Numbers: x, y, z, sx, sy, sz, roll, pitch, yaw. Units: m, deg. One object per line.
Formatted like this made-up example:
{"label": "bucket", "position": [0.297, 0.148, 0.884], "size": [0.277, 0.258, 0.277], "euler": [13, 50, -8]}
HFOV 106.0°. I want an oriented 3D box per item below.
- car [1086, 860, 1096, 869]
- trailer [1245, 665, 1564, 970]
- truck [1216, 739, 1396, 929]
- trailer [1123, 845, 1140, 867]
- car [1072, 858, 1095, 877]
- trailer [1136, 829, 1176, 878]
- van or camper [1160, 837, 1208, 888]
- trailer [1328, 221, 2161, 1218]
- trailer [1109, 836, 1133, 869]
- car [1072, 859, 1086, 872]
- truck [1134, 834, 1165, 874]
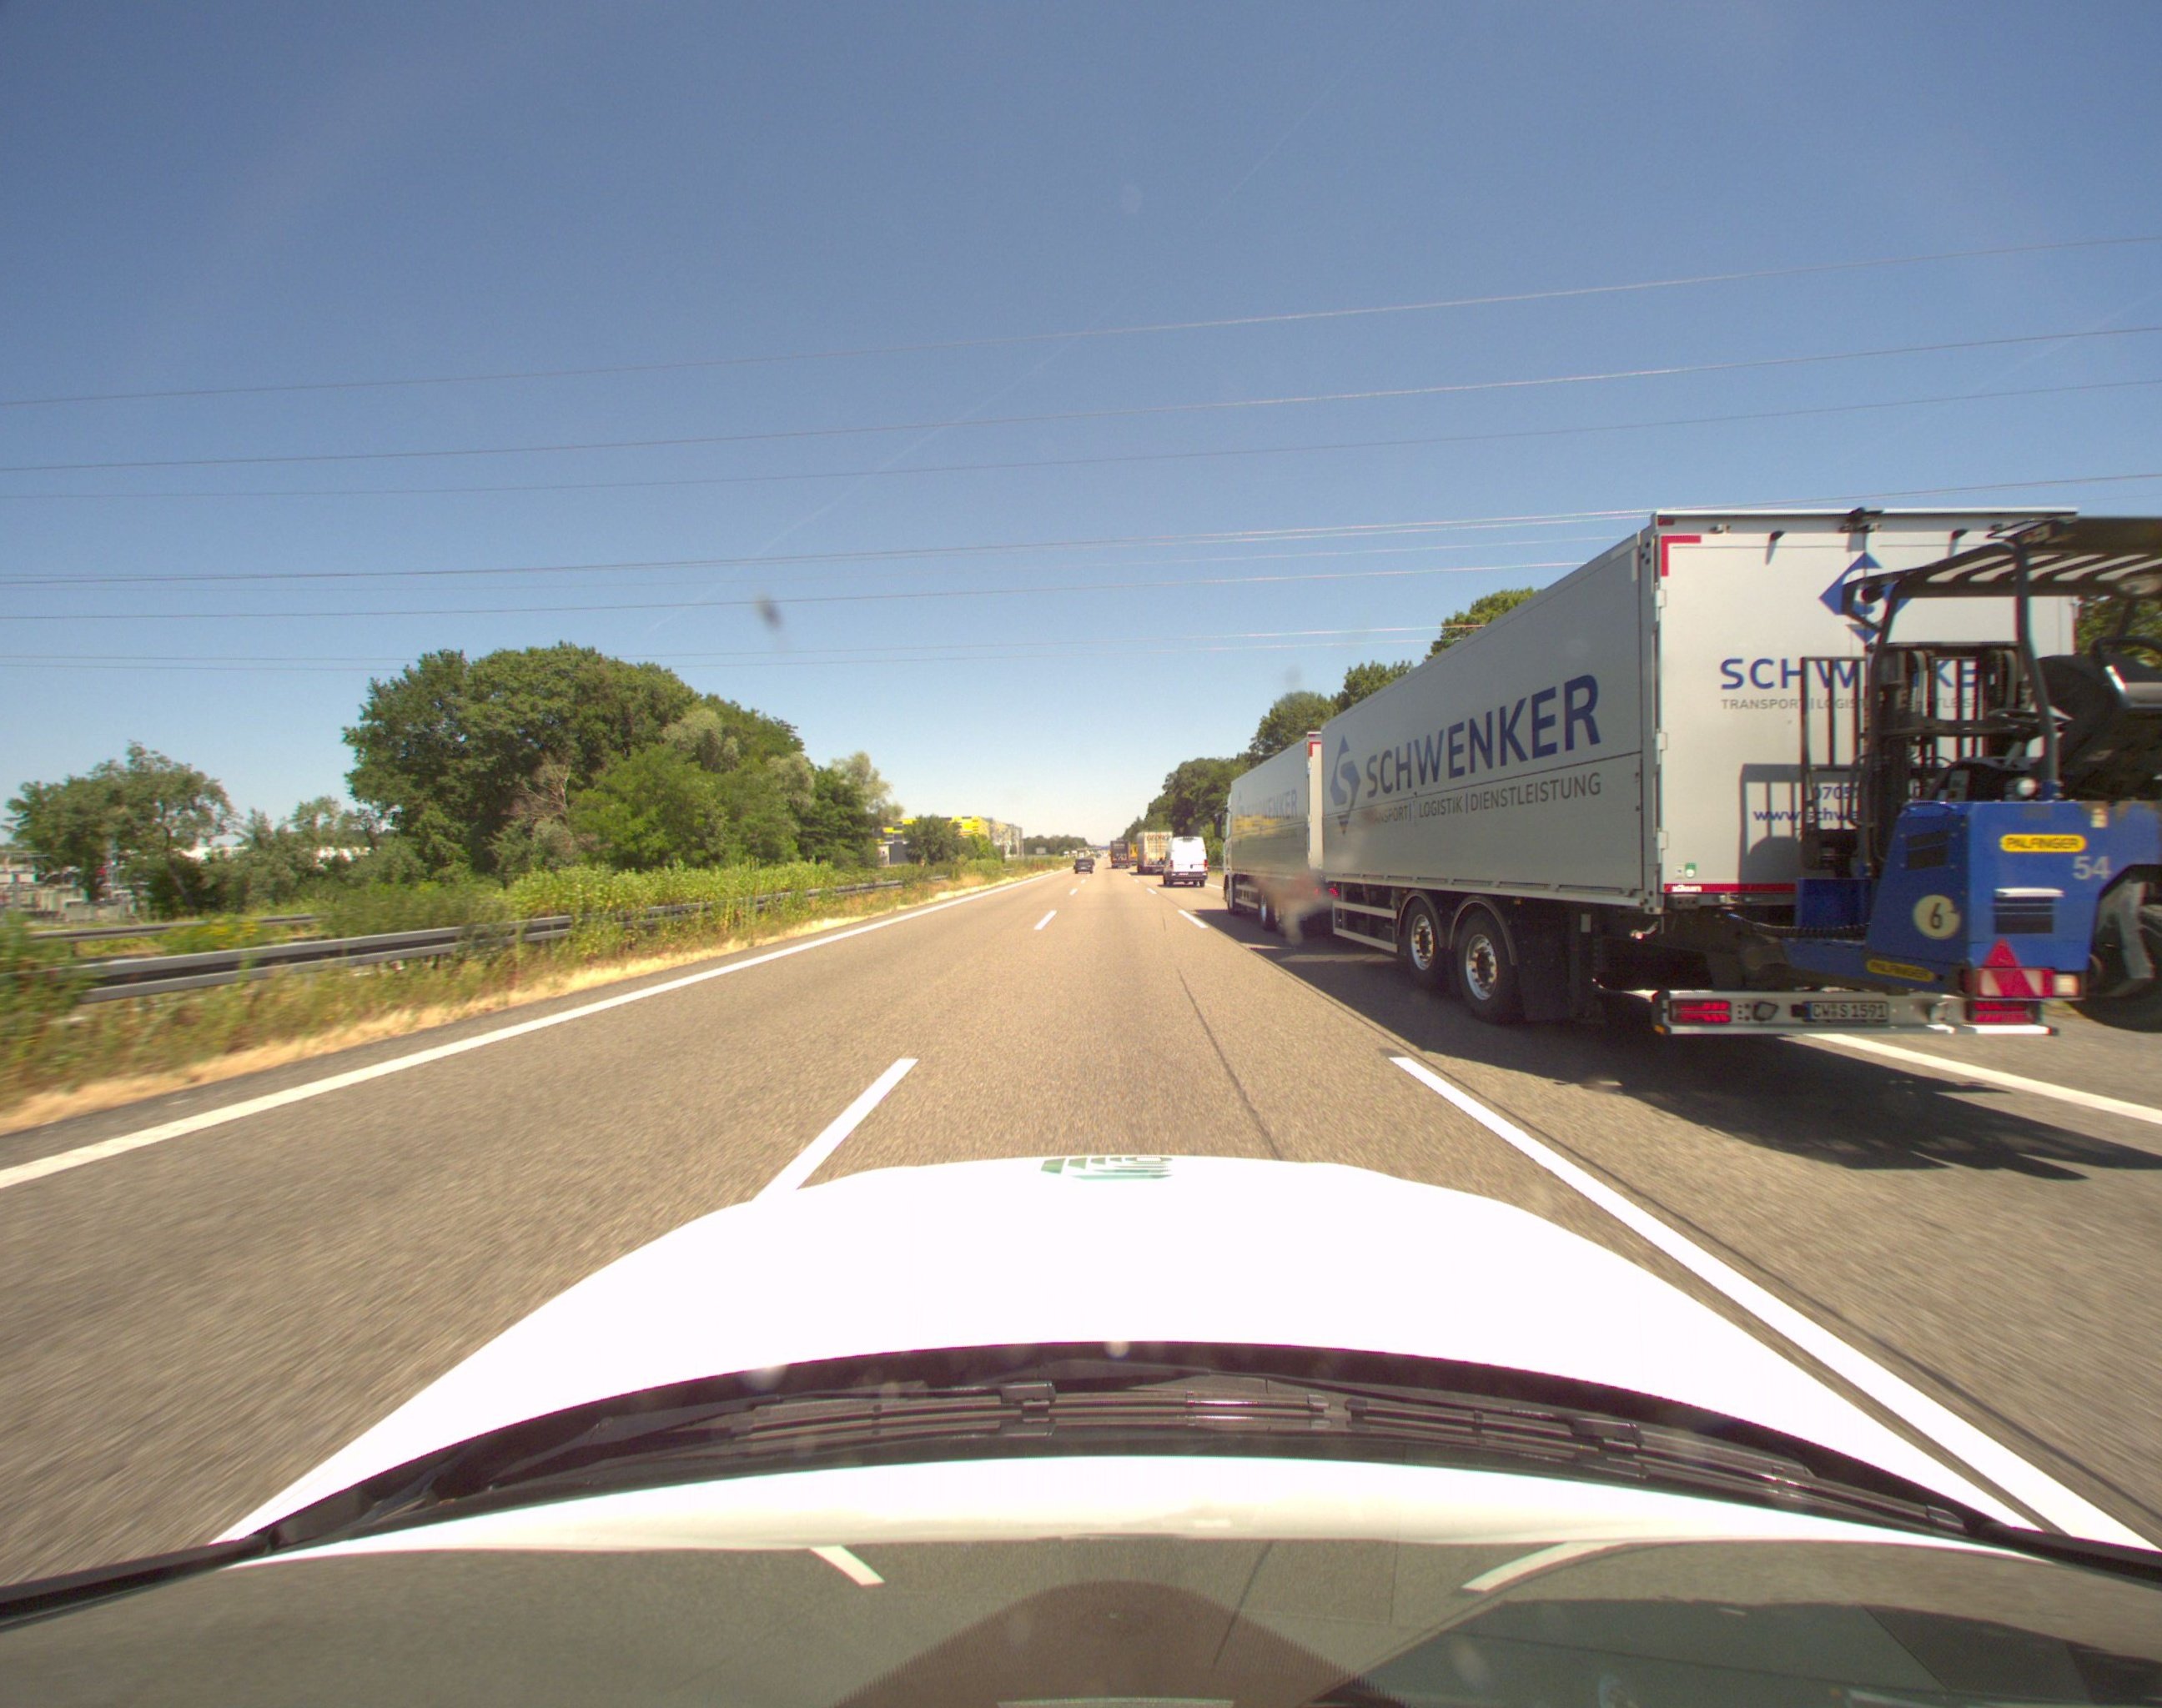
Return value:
{"label": "car", "position": [2.031, 2.010, 161.254], "size": [1.934, 1.706, 4.001], "euler": [-1, 0, 1]}
{"label": "trailer", "position": [5.026, -0.458, 14.475], "size": [2.909, 4.041, 7.319], "euler": [0, -1, 1]}
{"label": "truck", "position": [5.335, -0.394, 20.718], "size": [2.878, 4.030, 6.872], "euler": [0, -1, 2]}
{"label": "trailer", "position": [9.461, 0.332, 153.152], "size": [2.824, 3.954, 11.687], "euler": [-1, 0, 1]}
{"label": "car", "position": [0.332, 1.373, 84.591], "size": [2.208, 1.790, 5.395], "euler": [-2, 0, 1]}
{"label": "trailer", "position": [6.988, -0.047, 77.944], "size": [2.982, 4.289, 13.422], "euler": [0, 0, 2]}
{"label": "van or camper", "position": [5.706, 0.475, 45.783], "size": [2.015, 2.637, 6.488], "euler": [0, 0, 1]}
{"label": "trailer", "position": [4.847, -0.530, 7.368], "size": [2.934, 4.063, 8.130], "euler": [0, -1, 1]}
{"label": "trailer", "position": [5.900, -0.159, 121.260], "size": [3.095, 4.507, 14.898], "euler": [0, 0, 1]}
{"label": "car", "position": [-0.249, 1.647, 116.570], "size": [1.987, 1.728, 4.131], "euler": [-1, 0, 1]}
{"label": "truck", "position": [7.179, 0.034, 85.818], "size": [2.991, 4.125, 5.254], "euler": [-1, -1, 1]}
